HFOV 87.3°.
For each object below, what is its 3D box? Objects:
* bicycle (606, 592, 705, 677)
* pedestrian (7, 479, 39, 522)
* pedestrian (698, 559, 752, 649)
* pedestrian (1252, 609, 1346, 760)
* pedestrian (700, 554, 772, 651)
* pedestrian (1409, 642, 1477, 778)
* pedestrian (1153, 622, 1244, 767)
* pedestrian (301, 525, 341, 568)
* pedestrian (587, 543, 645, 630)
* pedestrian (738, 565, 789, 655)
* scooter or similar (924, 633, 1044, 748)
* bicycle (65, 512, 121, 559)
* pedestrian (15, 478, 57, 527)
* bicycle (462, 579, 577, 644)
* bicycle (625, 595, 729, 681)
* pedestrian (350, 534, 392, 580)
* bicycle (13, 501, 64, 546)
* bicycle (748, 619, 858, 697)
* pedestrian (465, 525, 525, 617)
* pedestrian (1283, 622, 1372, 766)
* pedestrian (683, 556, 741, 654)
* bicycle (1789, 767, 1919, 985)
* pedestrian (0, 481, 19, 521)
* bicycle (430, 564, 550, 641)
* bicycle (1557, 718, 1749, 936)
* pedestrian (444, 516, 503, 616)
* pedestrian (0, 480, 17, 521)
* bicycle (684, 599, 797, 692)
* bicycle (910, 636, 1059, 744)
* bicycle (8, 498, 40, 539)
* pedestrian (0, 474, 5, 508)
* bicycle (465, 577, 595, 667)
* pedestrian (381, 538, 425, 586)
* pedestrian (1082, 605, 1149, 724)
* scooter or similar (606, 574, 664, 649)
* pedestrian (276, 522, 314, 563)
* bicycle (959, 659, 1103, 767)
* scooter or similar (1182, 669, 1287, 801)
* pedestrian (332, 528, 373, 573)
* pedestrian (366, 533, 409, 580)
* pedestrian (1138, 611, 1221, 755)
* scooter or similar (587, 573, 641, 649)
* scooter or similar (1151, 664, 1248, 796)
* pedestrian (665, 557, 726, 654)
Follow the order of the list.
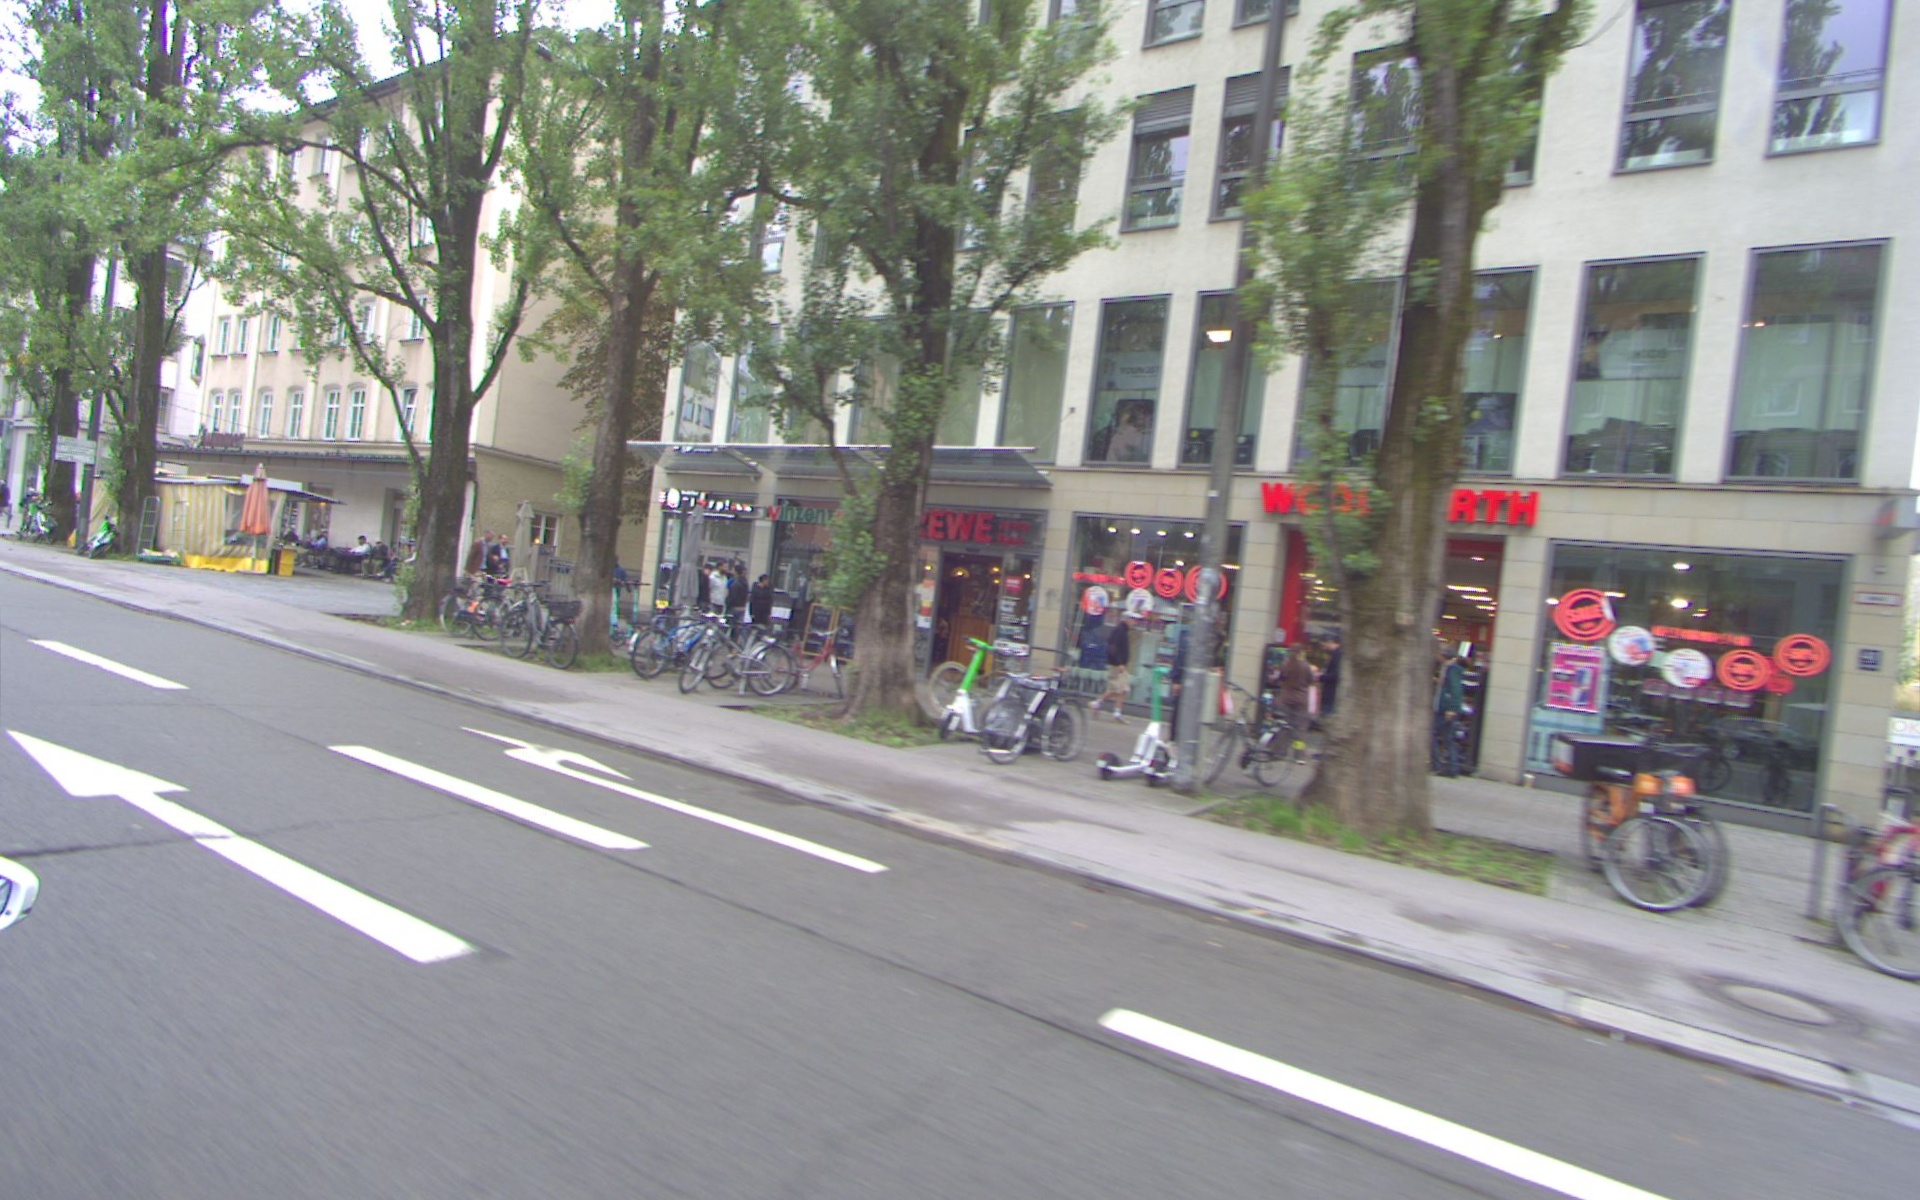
[{"bbox_3d":[-4.366,0.516,14.528,0.281,1.131,1.678,7,0,21],"label":"bicycle"},{"bbox_3d":[-38.449,-4.075,41.268,0.723,1.657,0.749,5,1,36],"label":"pedestrian"},{"bbox_3d":[-5.005,0.090,21.422,0.663,1.807,0.656,8,1,34],"label":"pedestrian"},{"bbox_3d":[4.610,1.136,13.656,0.808,1.893,0.752,8,1,36],"label":"pedestrian"},{"bbox_3d":[-4.573,0.063,20.576,0.962,1.836,0.813,7,0,12],"label":"pedestrian"},{"bbox_3d":[6.766,1.533,14.109,0.630,1.789,0.548,8,0,26],"label":"pedestrian"},{"bbox_3d":[2.964,1.166,12.498,0.739,1.668,0.546,8,0,35],"label":"pedestrian"},{"bbox_3d":[-21.256,-1.779,33.469,0.688,1.280,0.776,7,0,34],"label":"pedestrian"},{"bbox_3d":[-7.804,-0.298,22.824,0.744,1.836,0.743,8,1,37],"label":"pedestrian"},{"bbox_3d":[-4.177,0.209,21.397,0.663,1.807,0.565,8,1,35],"label":"pedestrian"},{"bbox_3d":[0.281,1.047,11.537,1.230,1.183,0.400,7,-1,-28],"label":"scooter or similar"},{"bbox_3d":[-21.875,-1.634,25.370,1.741,0.987,0.509,7,1,32],"label":"bicycle"},{"bbox_3d":[-35.432,-3.733,38.581,0.846,1.723,0.665,6,0,-12],"label":"pedestrian"},{"bbox_3d":[-7.384,0.216,16.974,0.281,0.956,2.004,7,0,25],"label":"bicycle"},{"bbox_3d":[-4.022,0.561,14.429,0.389,1.120,1.665,7,0,22],"label":"bicycle"},{"bbox_3d":[-17.987,-1.312,30.729,0.688,1.280,0.776,7,0,34],"label":"pedestrian"},{"bbox_3d":[-25.289,-2.106,27.596,1.741,1.061,0.509,7,1,32],"label":"bicycle"},{"bbox_3d":[-2.187,0.840,14.312,0.386,0.999,2.004,7,-1,25],"label":"bicycle"},{"bbox_3d":[-10.162,-0.640,21.981,0.891,1.874,0.656,8,1,35],"label":"pedestrian"},{"bbox_3d":[5.199,1.318,14.231,0.808,1.876,0.752,8,0,35],"label":"pedestrian"},{"bbox_3d":[-4.921,0.097,19.962,0.680,1.842,0.622,8,1,32],"label":"pedestrian"},{"bbox_3d":[6.338,1.833,6.897,0.675,1.140,1.899,8,0,33],"label":"bicycle"},{"bbox_3d":[-45.077,-4.670,47.418,0.845,1.779,0.750,5,0,35],"label":"pedestrian"},{"bbox_3d":[-7.837,0.069,16.889,0.281,1.095,2.005,7,-2,25],"label":"bicycle"},{"bbox_3d":[5.394,1.644,7.935,0.950,1.230,2.573,8,0,33],"label":"bicycle"},{"bbox_3d":[-10.238,-0.708,21.171,0.711,1.996,0.656,8,2,36],"label":"pedestrian"},{"bbox_3d":[-44.053,-4.590,46.252,0.740,1.779,0.709,7,0,35],"label":"pedestrian"},{"bbox_3d":[-2.958,0.638,13.756,0.334,1.149,1.870,7,0,25],"label":"bicycle"},{"bbox_3d":[0.281,1.133,13.030,1.975,1.077,0.391,7,2,37],"label":"bicycle"},{"bbox_3d":[-27.041,-2.350,29.076,0.404,1.081,1.791,13,-5,-40],"label":"bicycle"},{"bbox_3d":[-52.570,-5.981,54.638,0.699,1.779,0.750,7,0,35],"label":"pedestrian"},{"bbox_3d":[-6.363,0.315,14.854,1.968,1.074,0.434,7,1,23],"label":"bicycle"},{"bbox_3d":[-16.468,-1.122,29.745,0.688,1.280,0.776,7,0,34],"label":"pedestrian"},{"bbox_3d":[2.472,1.032,16.016,0.632,1.789,0.593,8,0,36],"label":"pedestrian"},{"bbox_3d":[-6.097,0.208,18.848,1.019,1.289,0.330,7,1,34],"label":"scooter or similar"},{"bbox_3d":[-22.959,-1.973,34.738,0.688,1.280,0.776,7,0,34],"label":"pedestrian"},{"bbox_3d":[0.796,1.187,10.716,0.387,1.022,1.836,8,1,42],"label":"bicycle"},{"bbox_3d":[2.834,1.370,10.488,0.303,1.183,1.240,8,-1,-17],"label":"scooter or similar"},{"bbox_3d":[-19.181,-1.546,31.774,0.688,1.280,0.776,7,0,34],"label":"pedestrian"},{"bbox_3d":[-17.151,-1.300,30.159,0.688,1.280,0.776,7,0,34],"label":"pedestrian"},{"bbox_3d":[2.879,1.083,13.202,0.686,1.763,0.565,8,0,36],"label":"pedestrian"},{"bbox_3d":[-6.355,0.195,18.458,1.019,1.289,0.247,7,1,34],"label":"scooter or similar"},{"bbox_3d":[2.443,1.301,10.357,0.281,1.183,1.241,8,-1,-14],"label":"scooter or similar"},{"bbox_3d":[-5.045,0.112,19.186,0.680,1.731,0.657,8,1,32],"label":"pedestrian"}]
